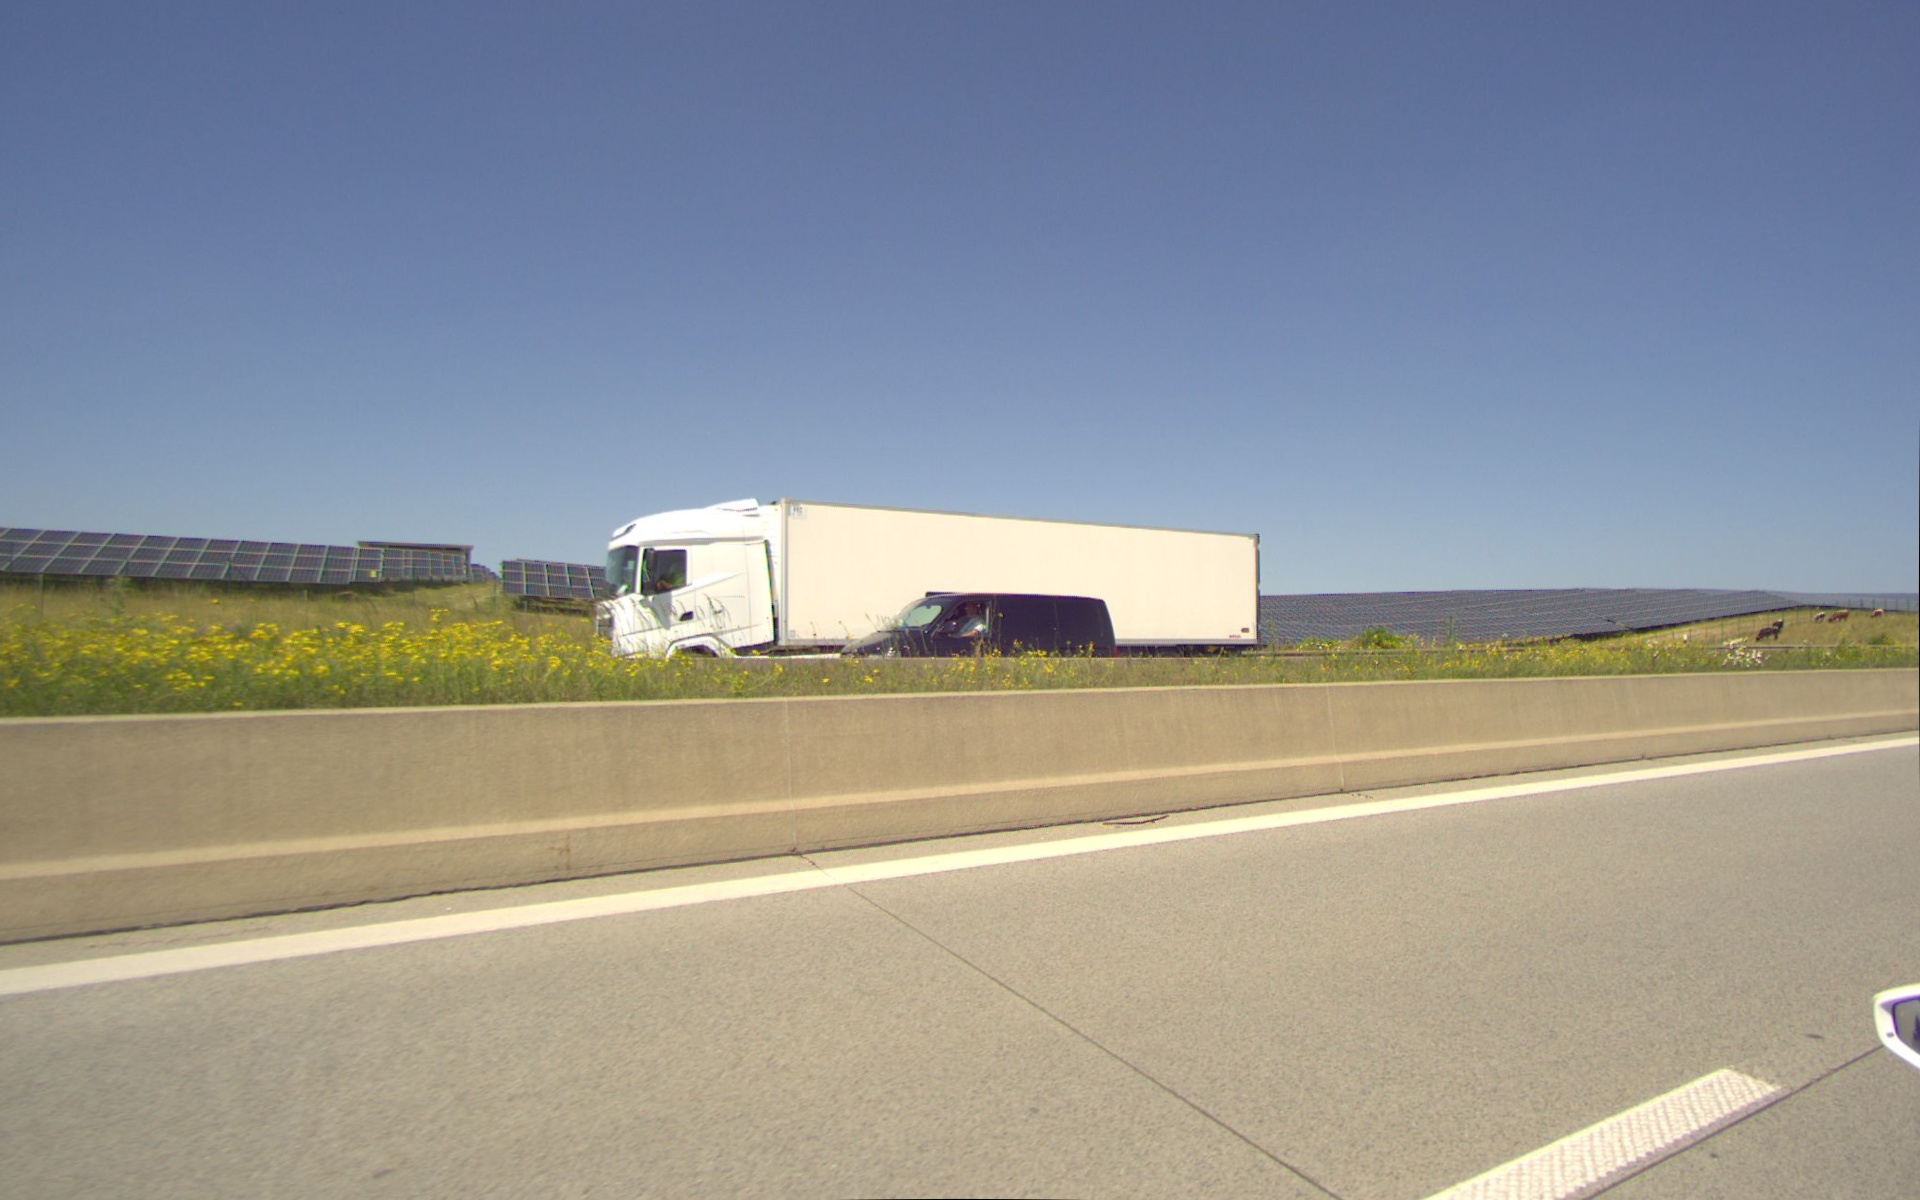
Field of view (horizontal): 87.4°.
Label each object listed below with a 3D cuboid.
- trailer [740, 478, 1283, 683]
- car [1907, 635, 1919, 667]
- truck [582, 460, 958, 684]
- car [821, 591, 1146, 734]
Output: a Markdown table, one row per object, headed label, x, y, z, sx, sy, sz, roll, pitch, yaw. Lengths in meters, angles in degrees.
| label | x | y | z | sx | sy | sz | roll | pitch | yaw |
| --- | --- | --- | --- | --- | --- | --- | --- | --- | --- |
| trailer | 1.873 | -0.189 | 24.789 | 13.977 | 4.057 | 3.075 | 2 | 0 | -31 |
| car | 50.848 | 2.681 | 51.932 | 3.921 | 1.573 | 1.642 | 2 | 1 | -30 |
| truck | -3.952 | -0.407 | 21.334 | 7.170 | 4.057 | 3.075 | 2 | 0 | -31 |
| car | 0.441 | 0.945 | 16.455 | 4.973 | 1.997 | 2.061 | 2 | 1 | -31 |
